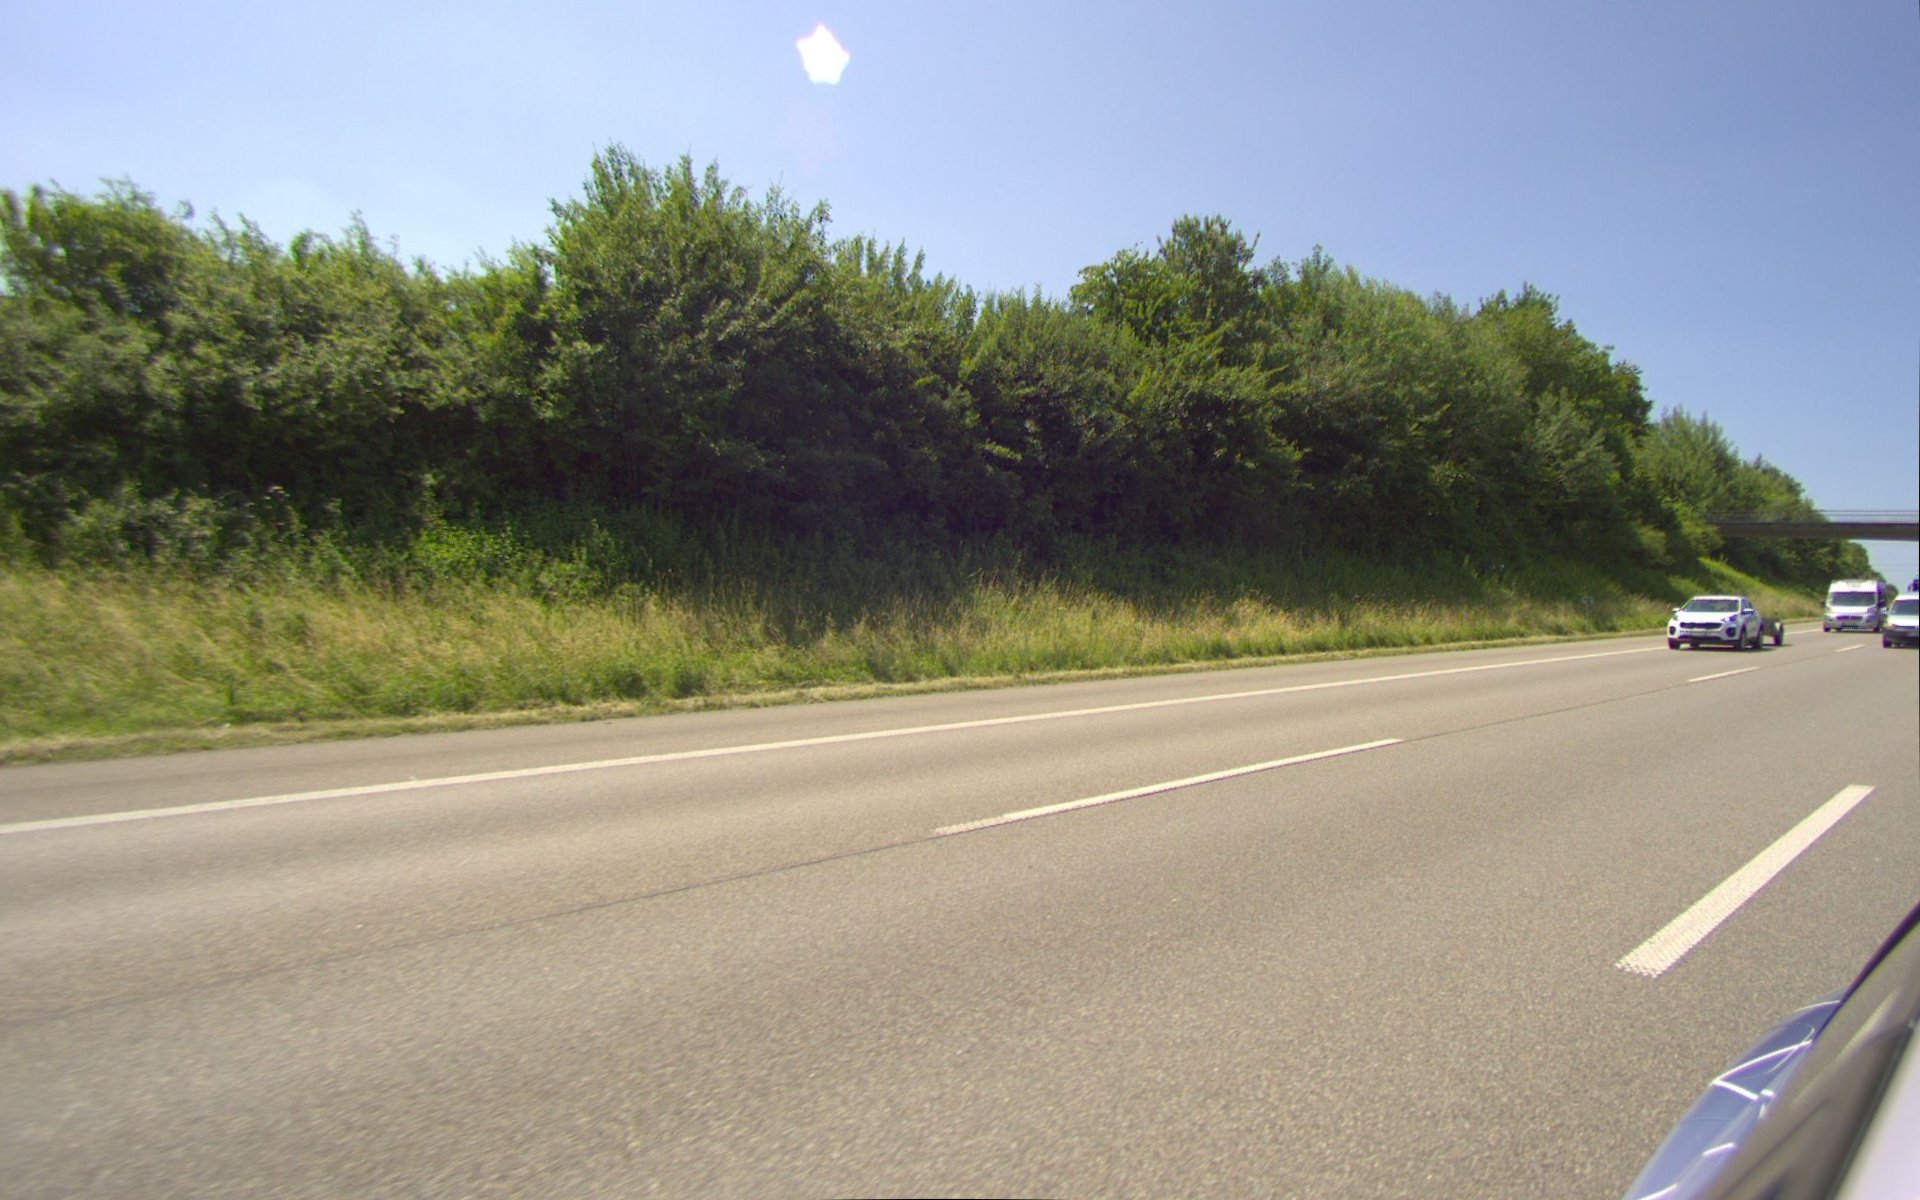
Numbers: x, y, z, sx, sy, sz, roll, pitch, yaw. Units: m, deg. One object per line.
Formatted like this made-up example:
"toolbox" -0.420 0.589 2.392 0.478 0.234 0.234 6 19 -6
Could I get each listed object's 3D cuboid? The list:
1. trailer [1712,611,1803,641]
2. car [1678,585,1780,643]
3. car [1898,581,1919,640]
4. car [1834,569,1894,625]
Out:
"trailer" 27.132 0.852 34.385 4.245 0.920 1.756 0 0 -42
"car" 23.956 0.438 31.487 4.327 1.672 1.783 1 -1 -42
"car" 32.158 0.330 33.215 4.721 1.853 1.747 0 0 -44
"car" 44.519 -0.091 49.872 2.088 2.609 6.521 0 -1 42
